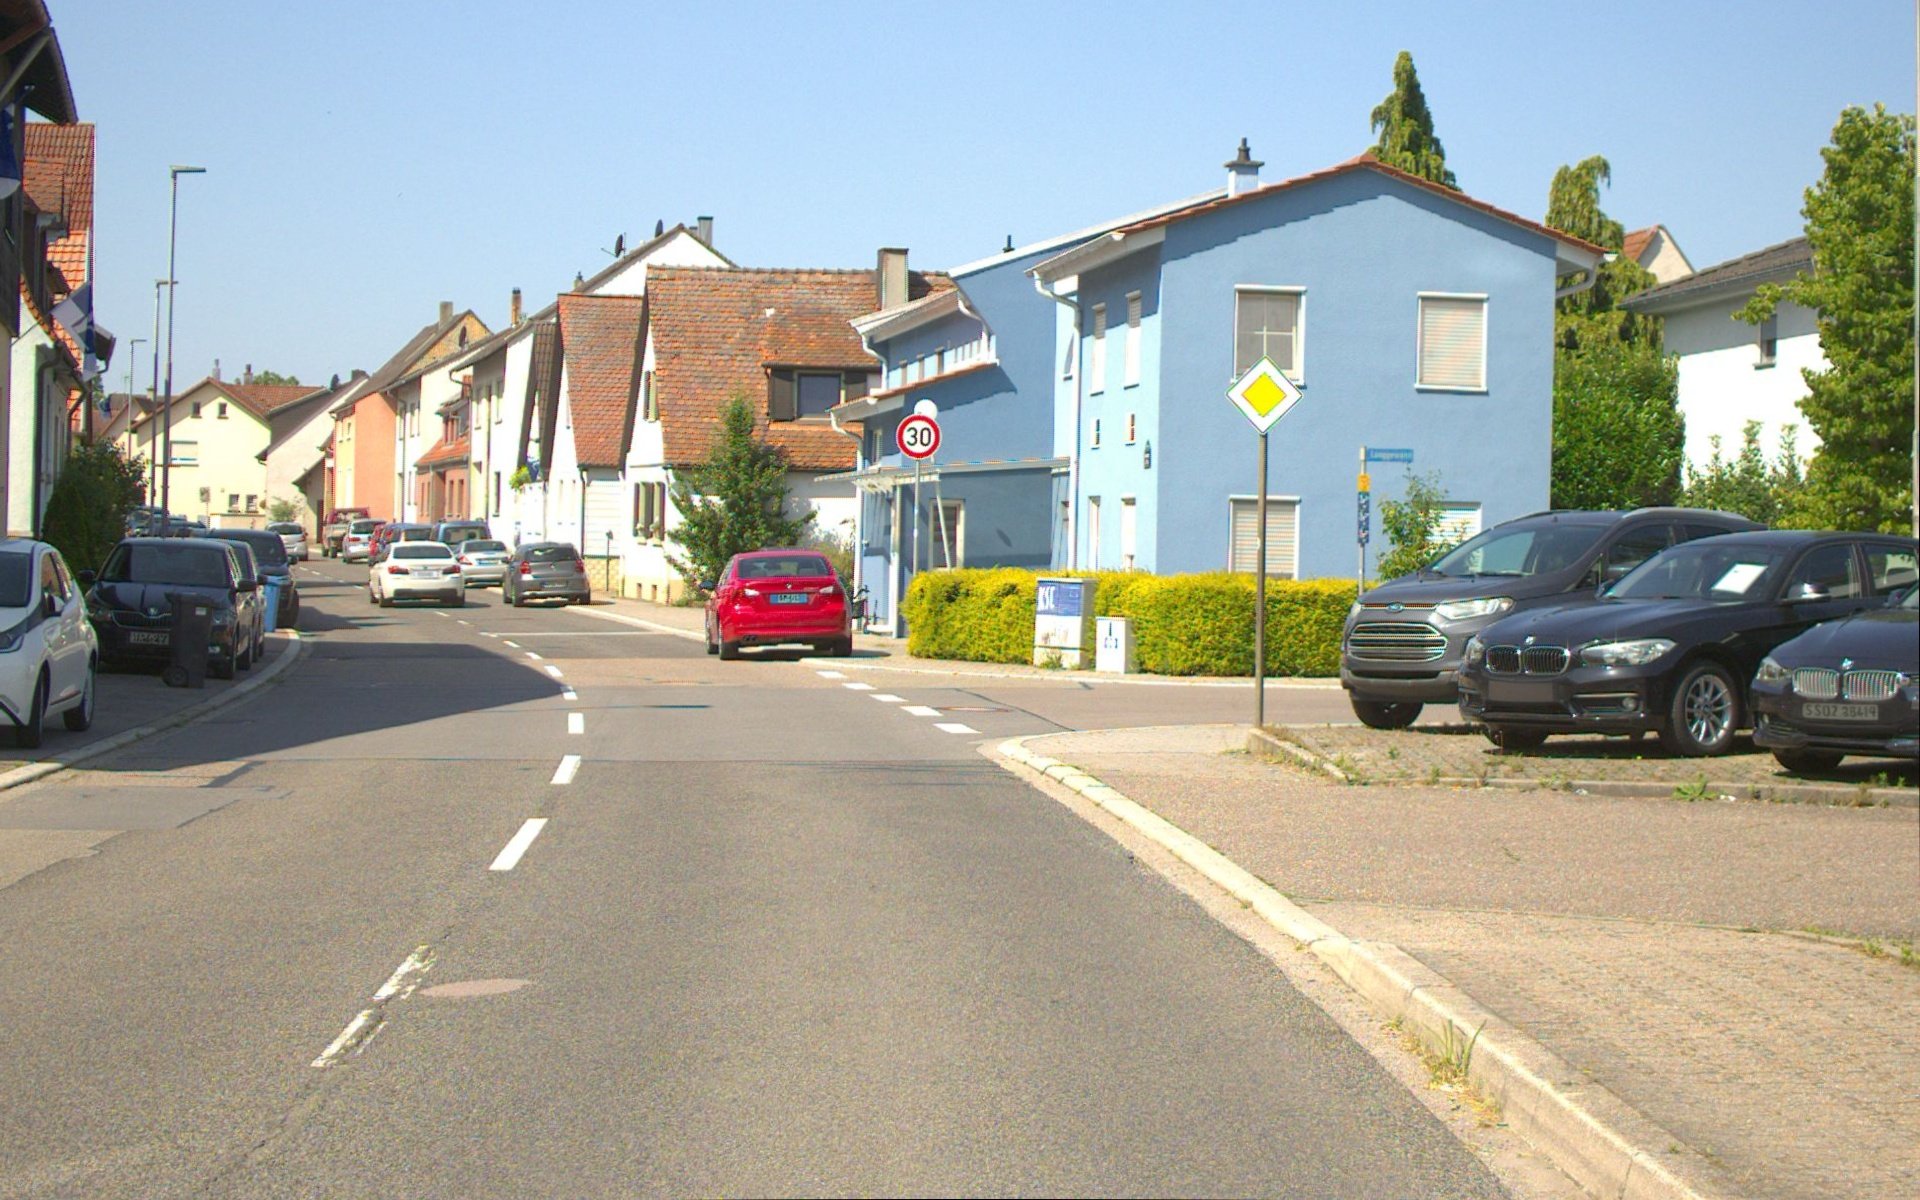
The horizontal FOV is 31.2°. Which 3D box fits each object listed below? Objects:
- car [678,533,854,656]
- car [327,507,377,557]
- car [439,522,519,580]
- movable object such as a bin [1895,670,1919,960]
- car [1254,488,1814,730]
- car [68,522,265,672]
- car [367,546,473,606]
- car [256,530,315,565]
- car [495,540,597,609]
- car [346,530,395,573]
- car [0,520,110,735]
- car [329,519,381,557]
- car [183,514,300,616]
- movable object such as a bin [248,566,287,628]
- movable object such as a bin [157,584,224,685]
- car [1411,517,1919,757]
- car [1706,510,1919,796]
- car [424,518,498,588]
[{"bbox_3d":[-2.673,-0.117,46.520,1.732,1.489,4.356,0,2,-12],"label":"car"},{"bbox_3d":[-24.669,-2.759,139.472,1.766,1.997,3.451,1,1,-13],"label":"car"},{"bbox_3d":[-13.176,-1.360,94.007,1.704,1.491,3.453,2,1,-15],"label":"car"},{"bbox_3d":[3.396,0.702,11.087,0.557,0.933,0.515,0,1,-10],"label":"movable object such as a bin"},{"bbox_3d":[4.293,0.030,25.414,4.102,1.647,1.831,0,1,-40],"label":"car"},{"bbox_3d":[-8.570,-0.055,37.394,1.678,1.432,3.997,4,0,-8],"label":"car"},{"bbox_3d":[-12.167,-0.559,77.283,1.993,1.284,4.001,1,1,-14],"label":"car"},{"bbox_3d":[-25.735,-2.007,131.042,1.993,1.284,3.805,1,1,-14],"label":"car"},{"bbox_3d":[-9.347,-0.588,77.367,1.704,1.428,3.891,2,1,-15],"label":"car"},{"bbox_3d":[-21.721,-1.794,126.642,1.420,1.510,3.305,2,1,-15],"label":"car"},{"bbox_3d":[-7.325,0.144,25.055,1.683,1.457,3.650,2,0,-6],"label":"car"},{"bbox_3d":[-23.748,-2.433,134.900,1.766,1.428,3.451,1,1,-13],"label":"car"},{"bbox_3d":[-12.973,-0.638,62.175,1.919,1.662,4.667,3,0,-11],"label":"car"},{"bbox_3d":[-11.452,-0.051,56.864,0.596,0.979,0.531,2,1,-12],"label":"movable object such as a bin"},{"bbox_3d":[-7.608,0.338,33.981,0.551,0.925,0.826,5,0,-14],"label":"movable object such as a bin"},{"bbox_3d":[4.895,0.198,22.686,3.863,1.442,1.750,0,1,-43],"label":"car"},{"bbox_3d":[6.516,0.268,20.528,4.228,1.560,1.983,0,1,-44],"label":"car"},{"bbox_3d":[-14.400,-1.366,99.081,1.649,1.903,3.627,2,1,-15],"label":"car"}]
